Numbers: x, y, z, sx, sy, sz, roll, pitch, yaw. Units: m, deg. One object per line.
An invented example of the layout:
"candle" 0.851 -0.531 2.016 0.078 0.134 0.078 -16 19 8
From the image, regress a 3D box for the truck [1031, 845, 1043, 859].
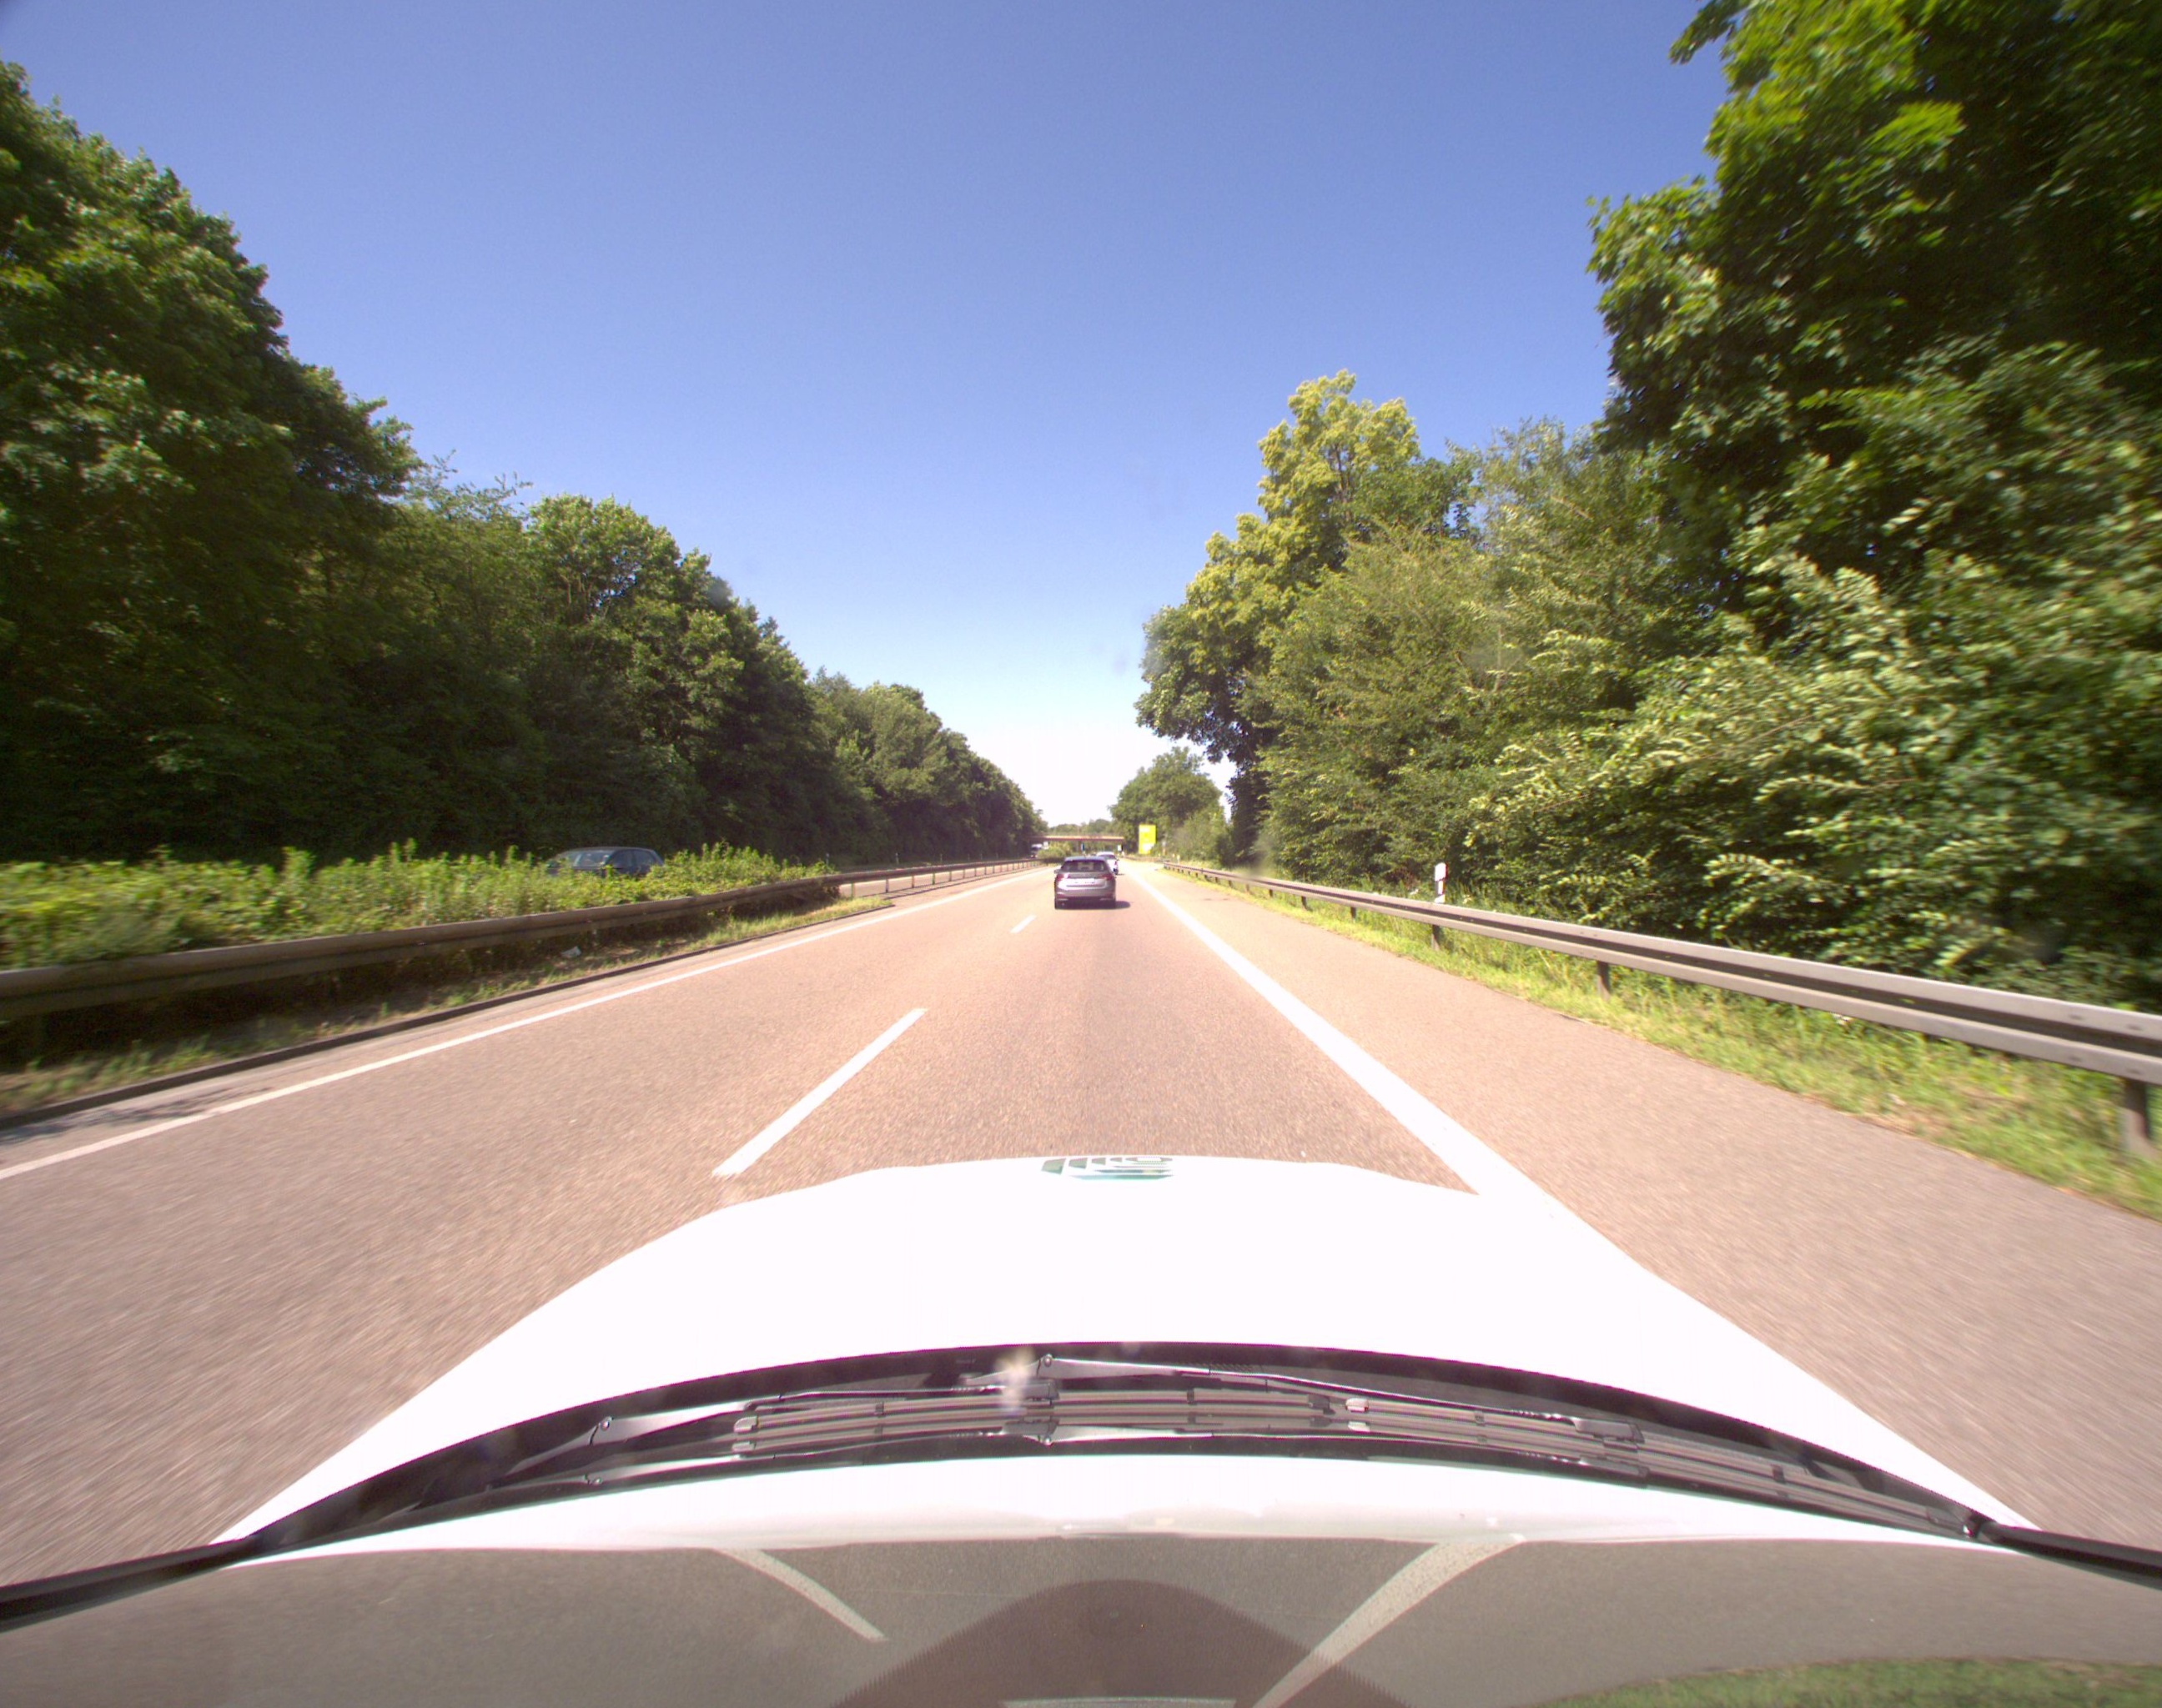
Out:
"truck" -9.902 -0.439 183.681 2.416 3.258 4.002 0 0 2

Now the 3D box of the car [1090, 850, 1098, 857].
"car" 3.698 -0.161 228.305 1.986 2.013 4.002 0 0 2

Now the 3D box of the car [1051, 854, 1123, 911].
"car" 0.242 0.740 23.215 1.832 1.472 3.627 0 0 3

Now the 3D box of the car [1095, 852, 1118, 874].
"car" 1.802 0.620 56.409 1.516 1.446 3.343 0 0 3

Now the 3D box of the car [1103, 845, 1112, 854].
"car" 7.832 -1.404 241.813 2.738 2.654 4.002 0 0 2

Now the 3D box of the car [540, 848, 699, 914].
"car" -11.225 0.604 20.109 1.665 1.473 3.627 0 0 3
